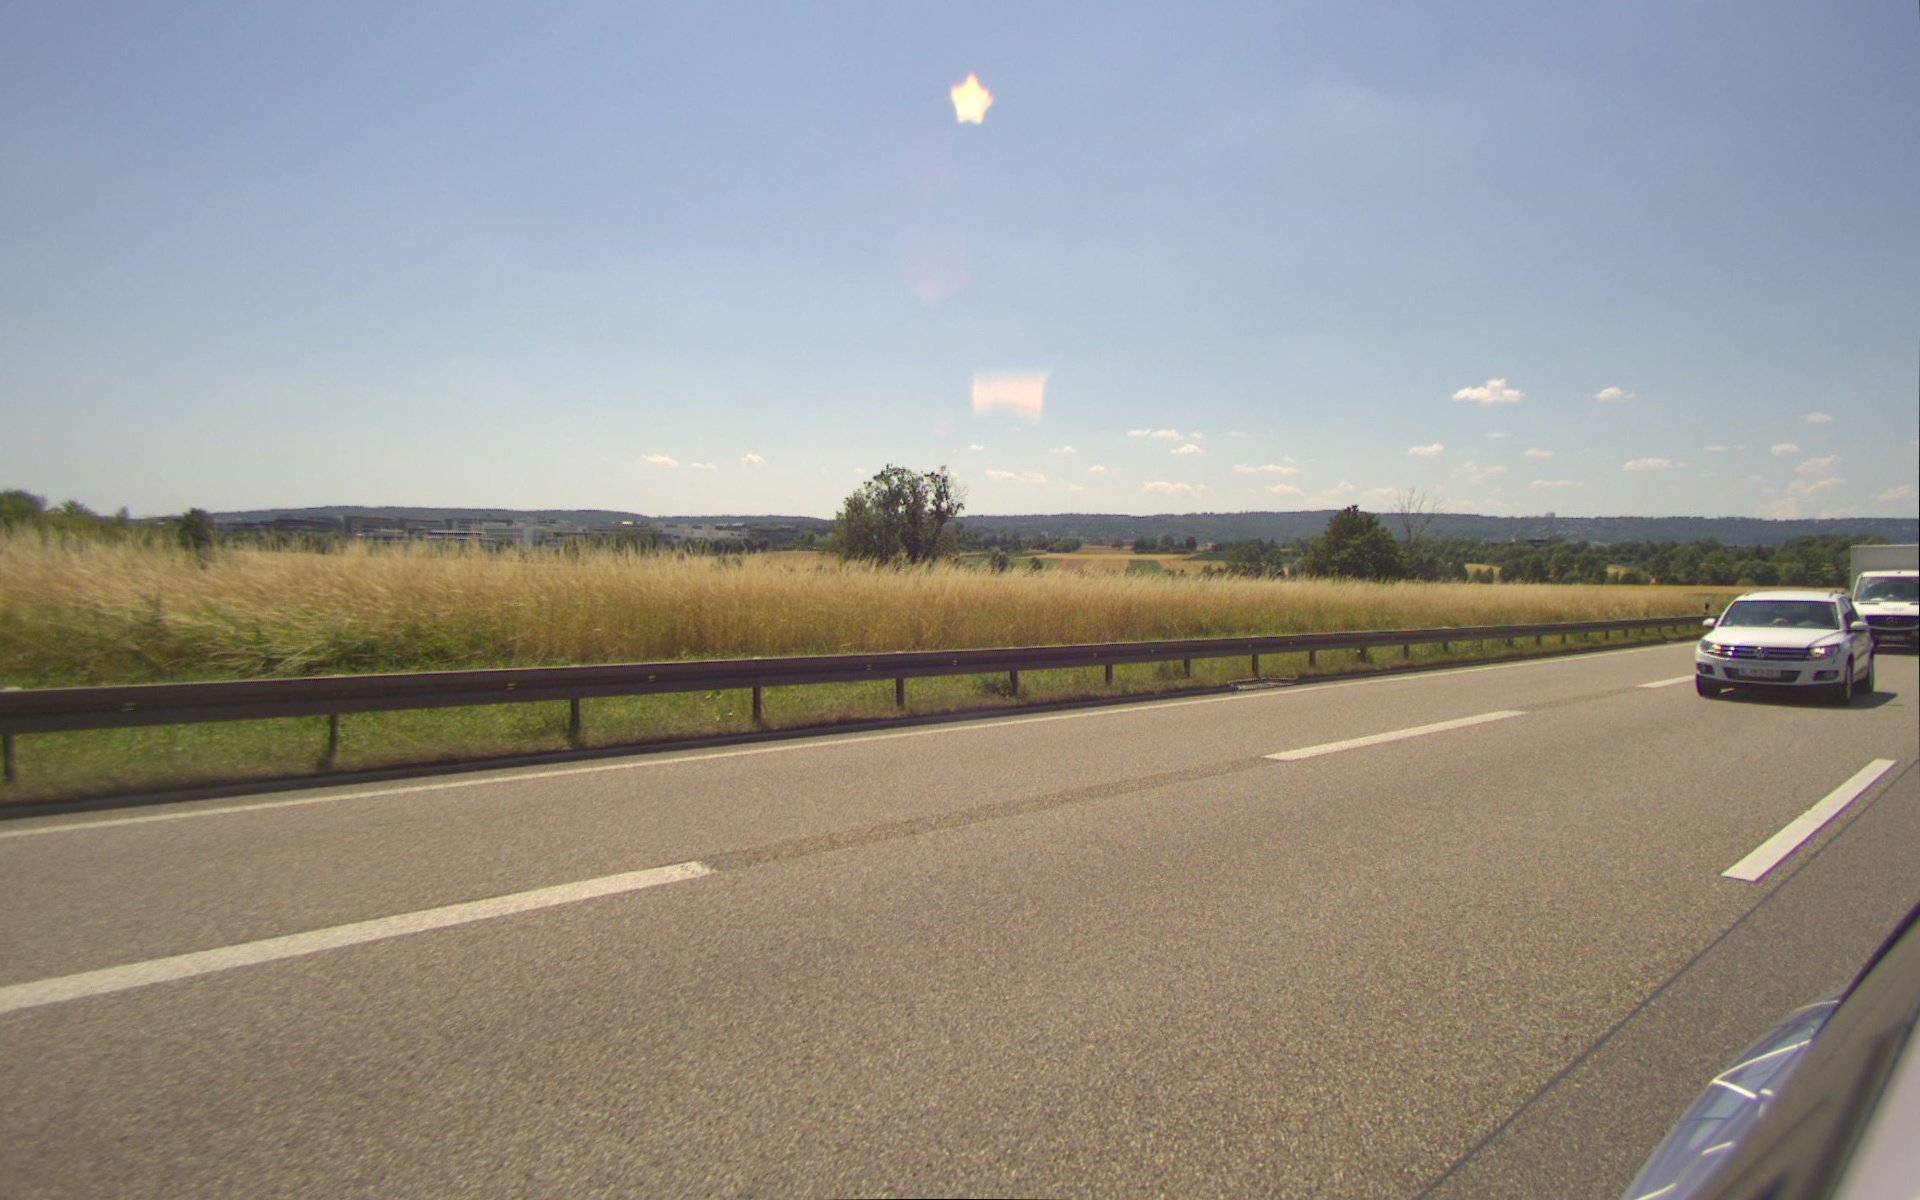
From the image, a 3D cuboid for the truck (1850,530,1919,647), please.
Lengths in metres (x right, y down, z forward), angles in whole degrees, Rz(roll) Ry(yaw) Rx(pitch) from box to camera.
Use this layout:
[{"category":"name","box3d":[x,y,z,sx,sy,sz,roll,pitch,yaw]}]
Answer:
[{"category":"truck","box3d":[27.445,-0.333,29.068,2.440,3.066,6.805,0,0,45]}]

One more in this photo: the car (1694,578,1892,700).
[{"category":"car","box3d":[13.139,0.521,15.874,4.101,1.666,1.834,0,0,-42]}]
